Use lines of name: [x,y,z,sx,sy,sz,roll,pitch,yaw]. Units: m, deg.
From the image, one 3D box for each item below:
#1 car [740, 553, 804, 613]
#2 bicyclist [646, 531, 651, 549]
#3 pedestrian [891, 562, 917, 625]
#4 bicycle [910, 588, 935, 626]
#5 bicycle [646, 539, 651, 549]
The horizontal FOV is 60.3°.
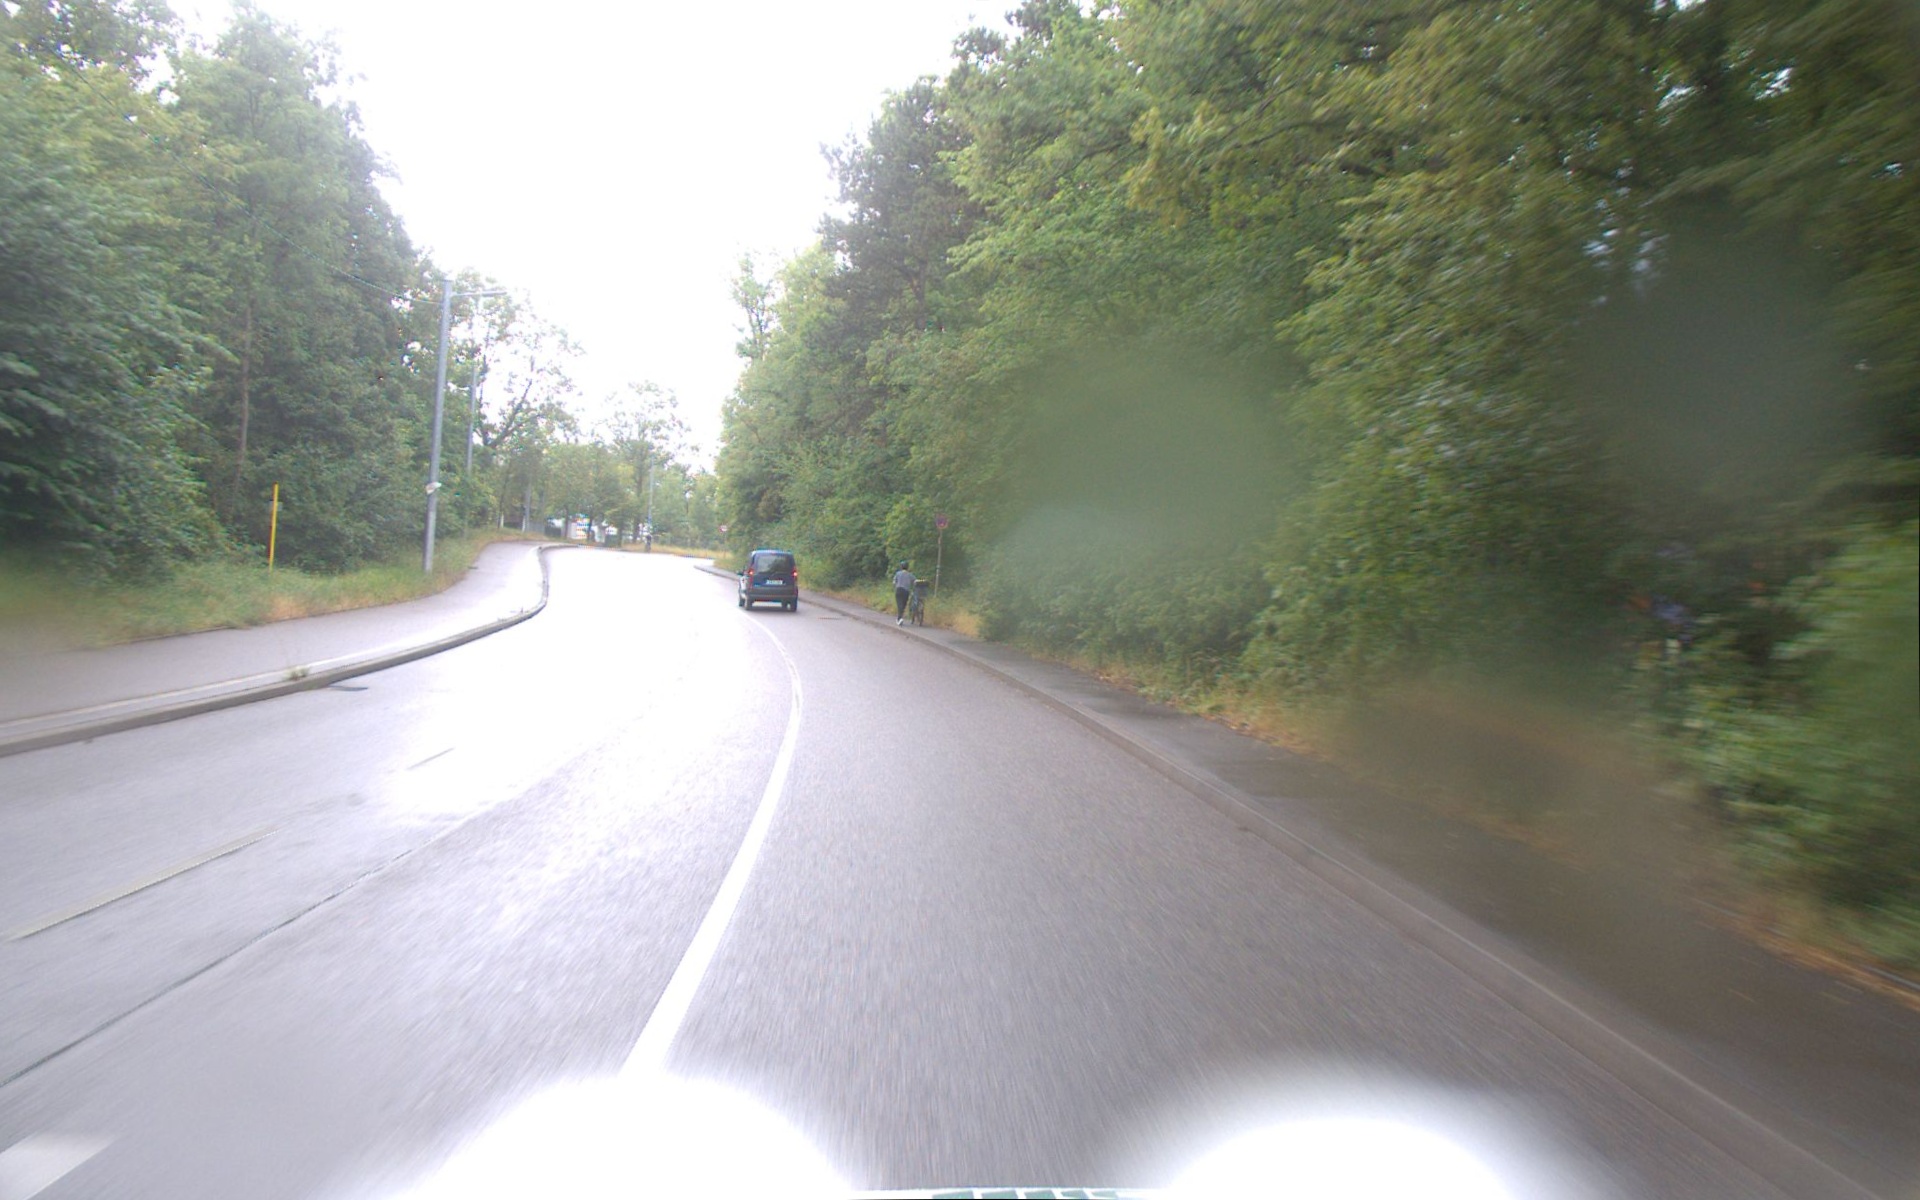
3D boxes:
car: [-6.024,-0.536,52.681,1.794,1.825,3.991,0,0,-10]
bicyclist: [-27.568,-5.309,146.345,0.330,1.601,1.295,3,3,-11]
pedestrian: [-1.448,-0.160,42.465,0.554,1.604,0.767,0,-1,-11]
bicycle: [-0.967,0.178,42.278,0.349,0.863,1.738,-1,3,-11]
bicycle: [-27.585,-4.974,146.370,0.349,0.863,2.088,1,3,-11]
